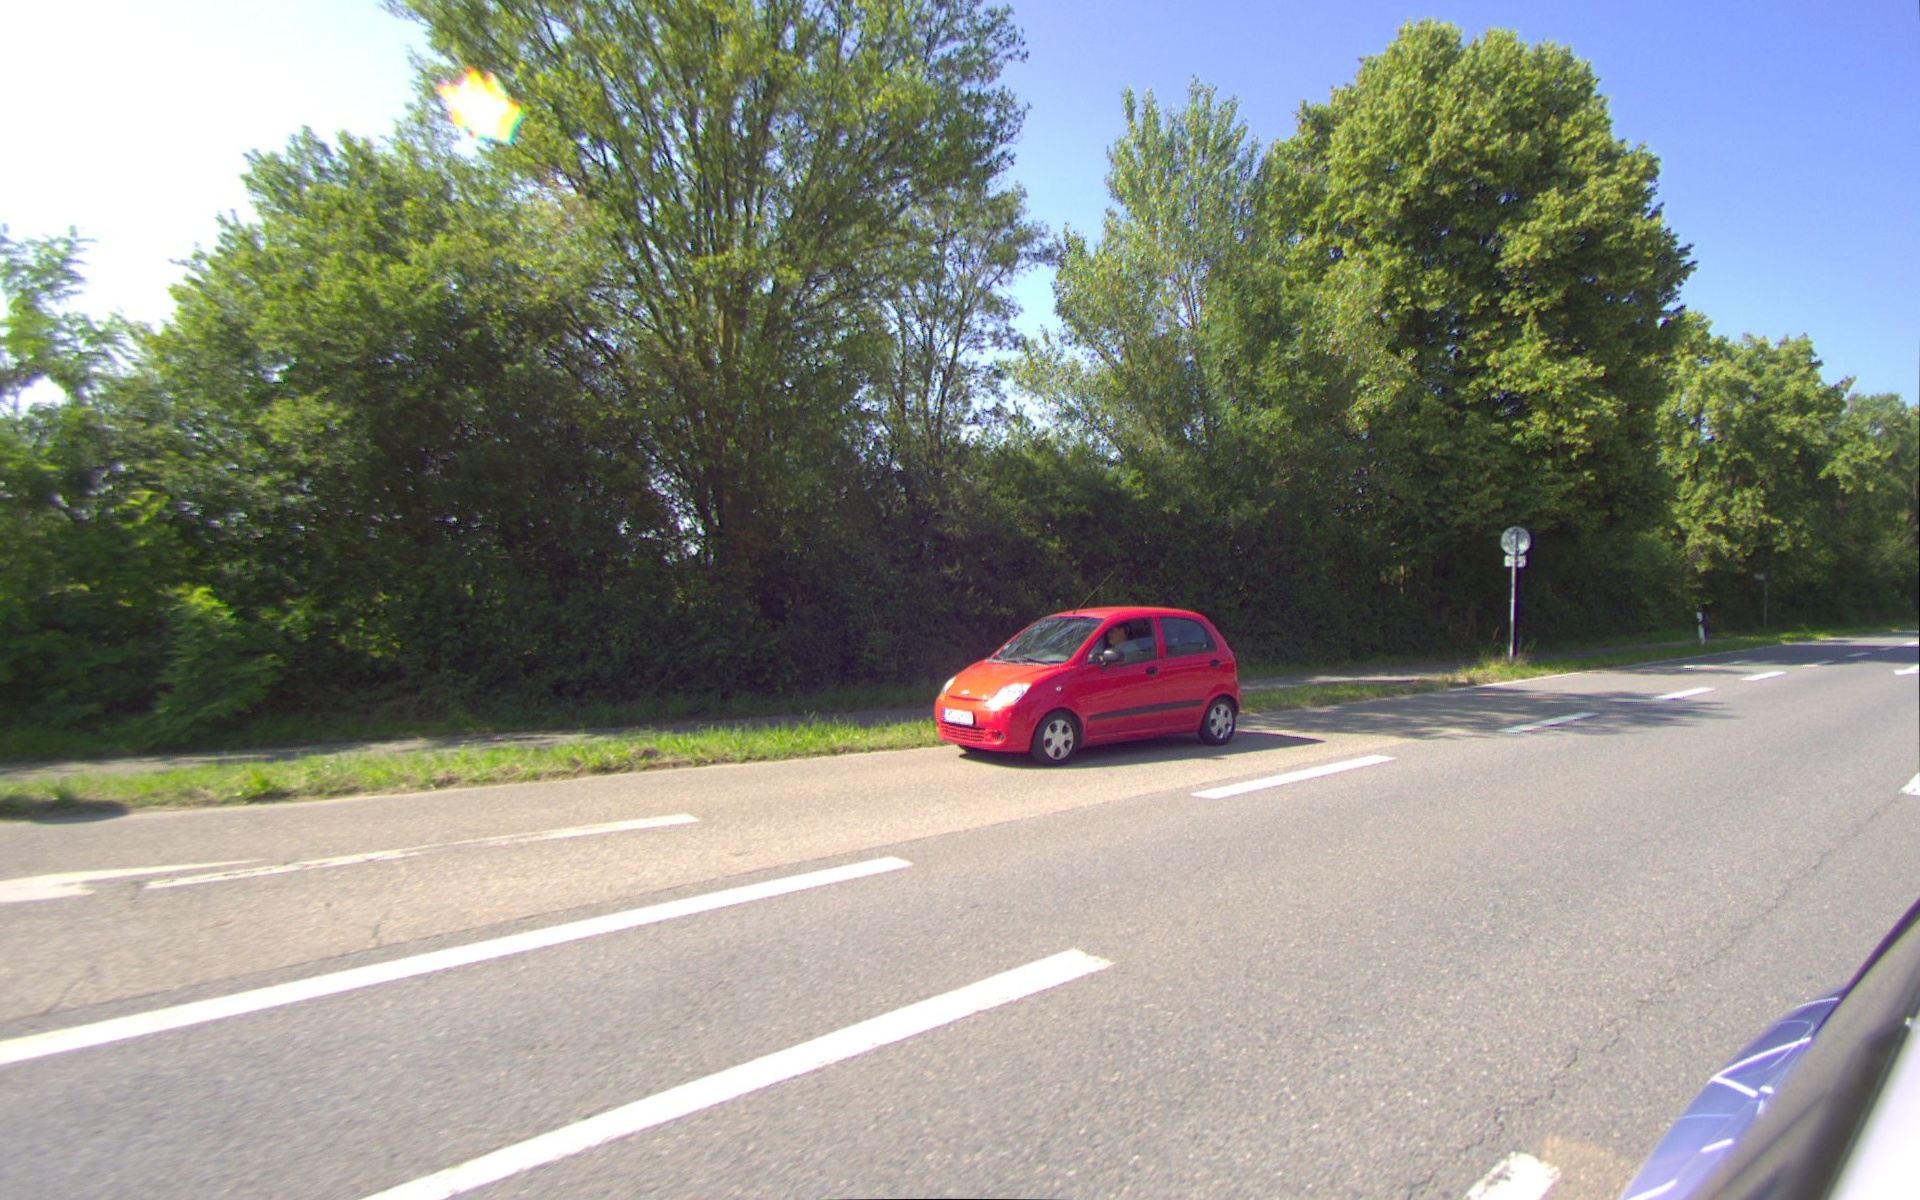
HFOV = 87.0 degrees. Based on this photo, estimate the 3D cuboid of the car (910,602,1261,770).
[{"bbox_3d":[1.379,0.782,10.670,3.500,1.472,1.550,0,-1,-34],"label":"car"}]
